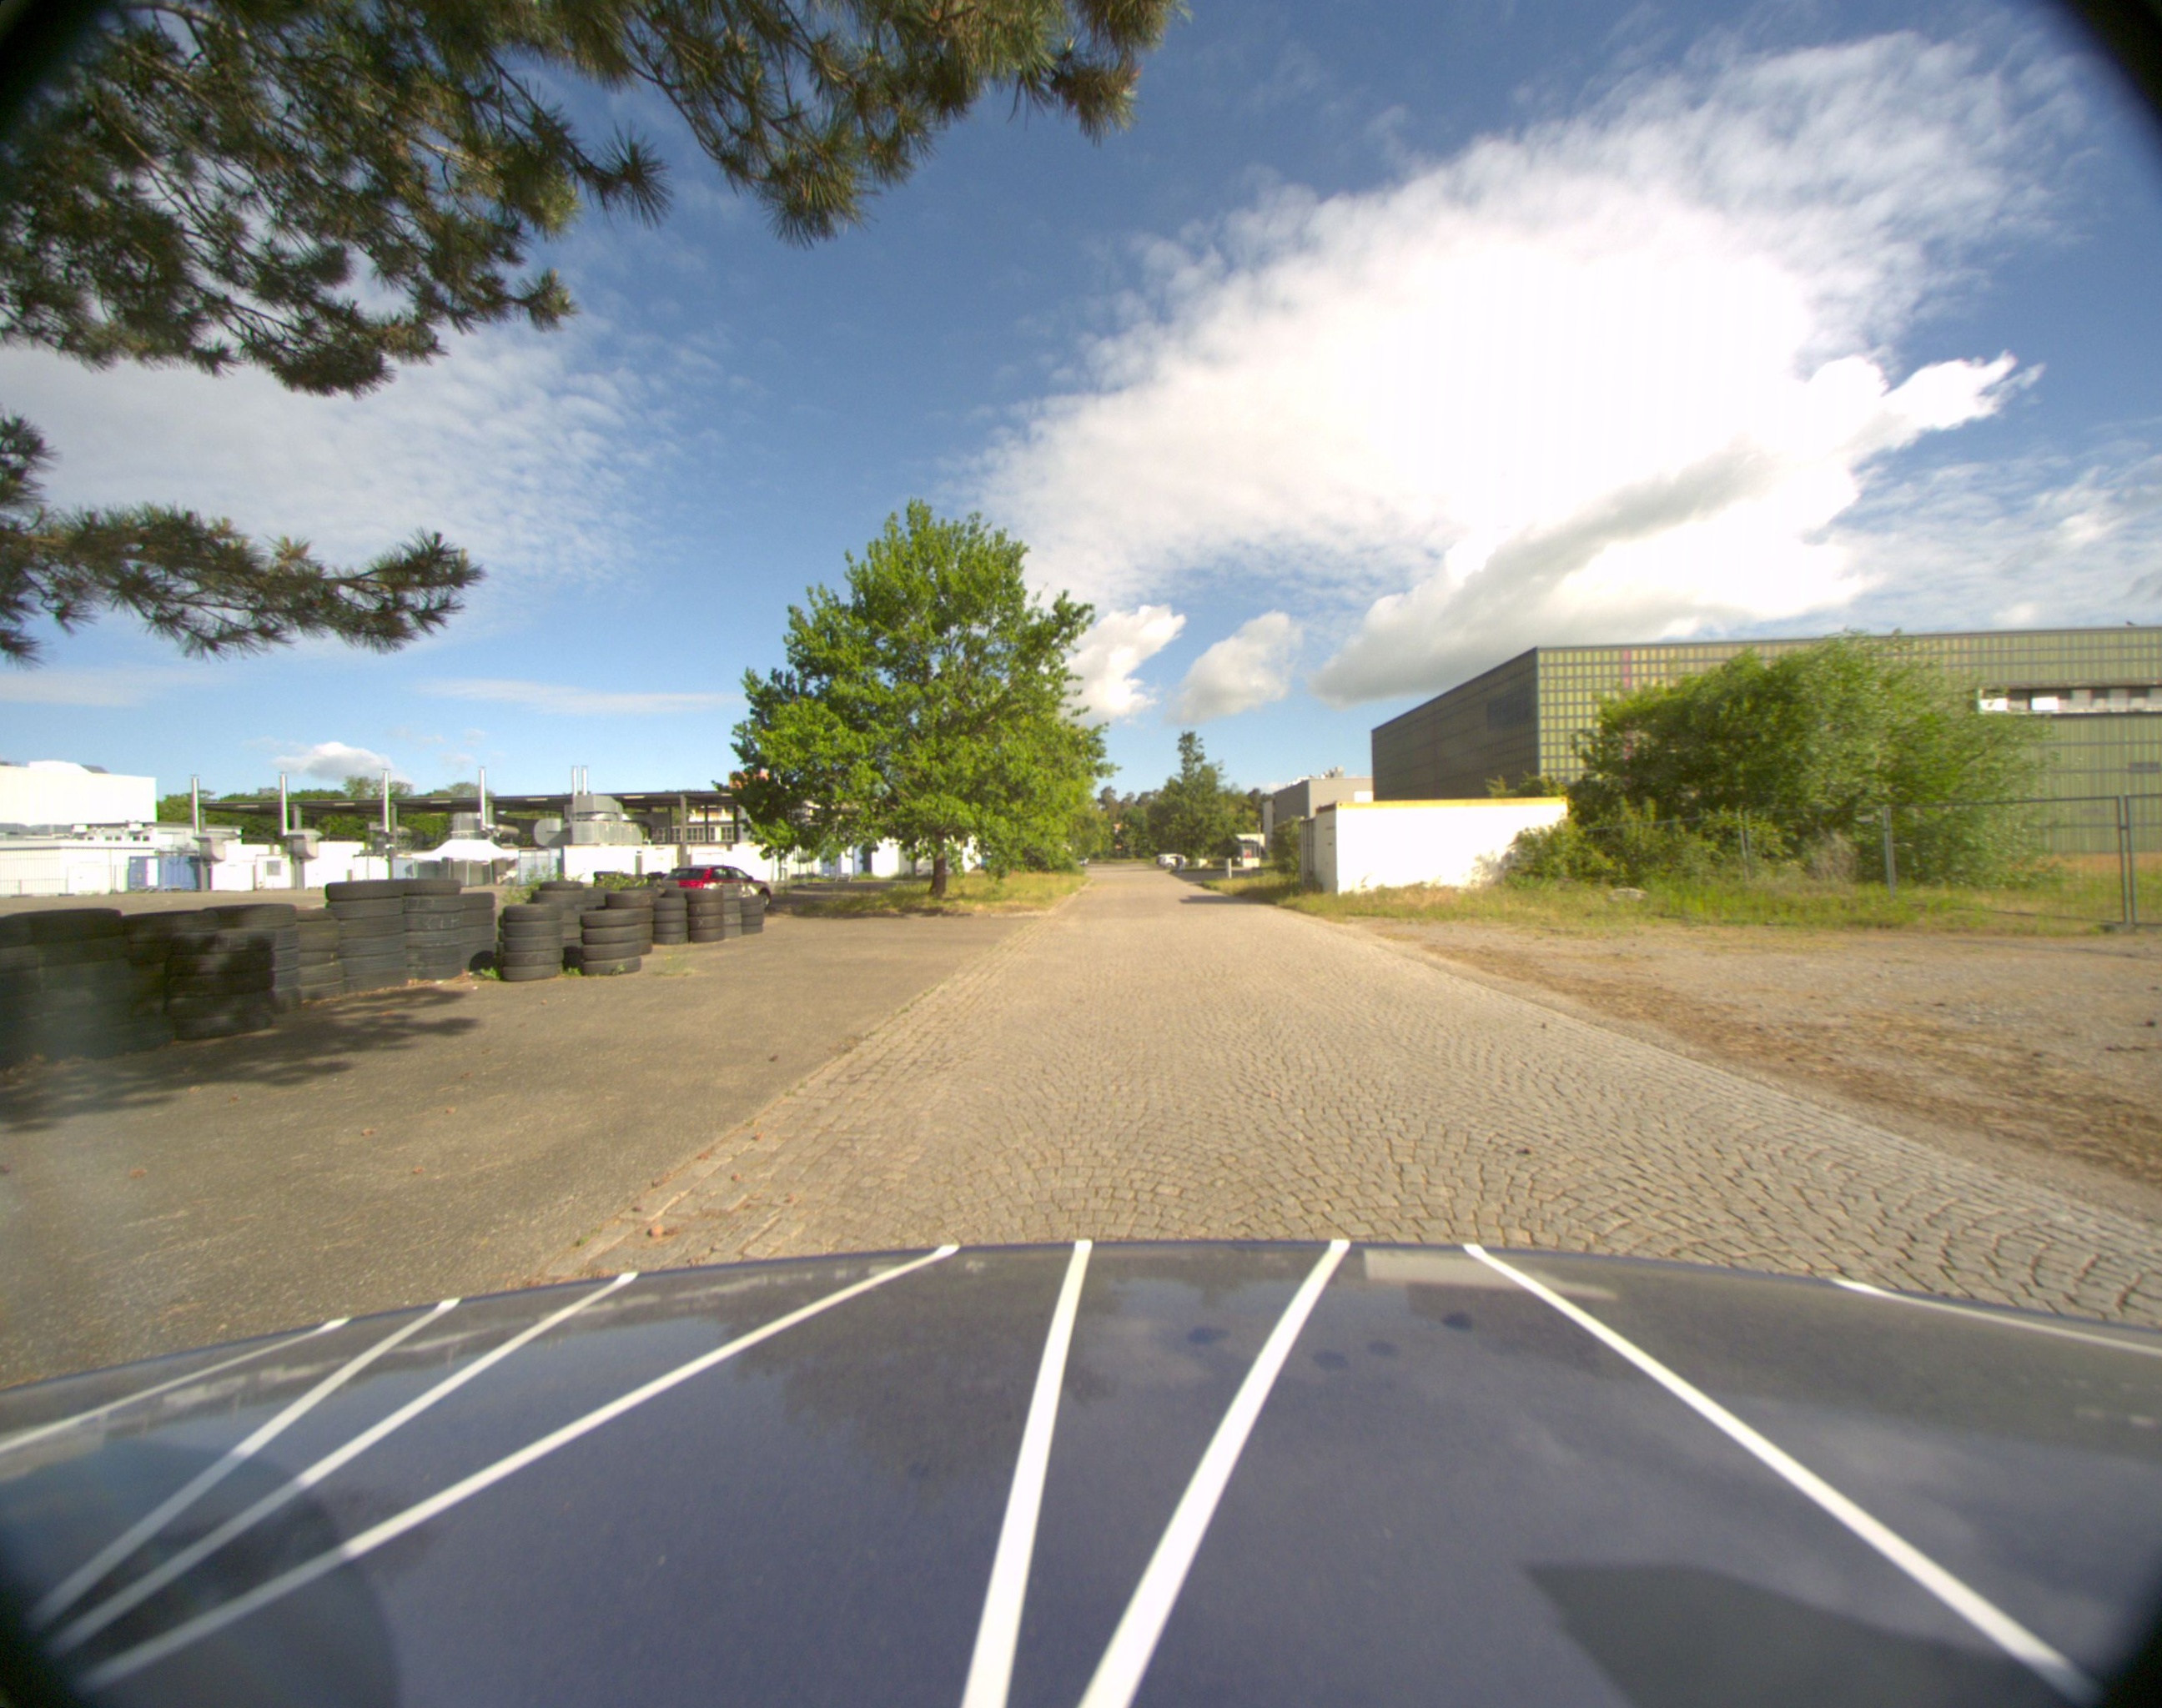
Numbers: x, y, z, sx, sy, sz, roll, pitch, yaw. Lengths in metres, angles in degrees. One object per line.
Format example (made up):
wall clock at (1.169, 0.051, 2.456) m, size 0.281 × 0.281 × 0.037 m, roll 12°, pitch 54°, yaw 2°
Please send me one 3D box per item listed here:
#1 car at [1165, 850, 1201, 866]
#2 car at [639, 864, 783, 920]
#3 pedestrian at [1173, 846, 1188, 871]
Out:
car at (11.655, 0.433, 87.281) m, size 3.995 × 1.678 × 2.001 m, roll -1°, pitch 0°, yaw 6°
car at (-10.858, 1.062, 22.653) m, size 1.846 × 1.440 × 4.003 m, roll -1°, pitch 0°, yaw 9°
pedestrian at (7.487, 0.332, 57.426) m, size 0.908 × 1.797 × 0.983 m, roll -1°, pitch 1°, yaw -4°
